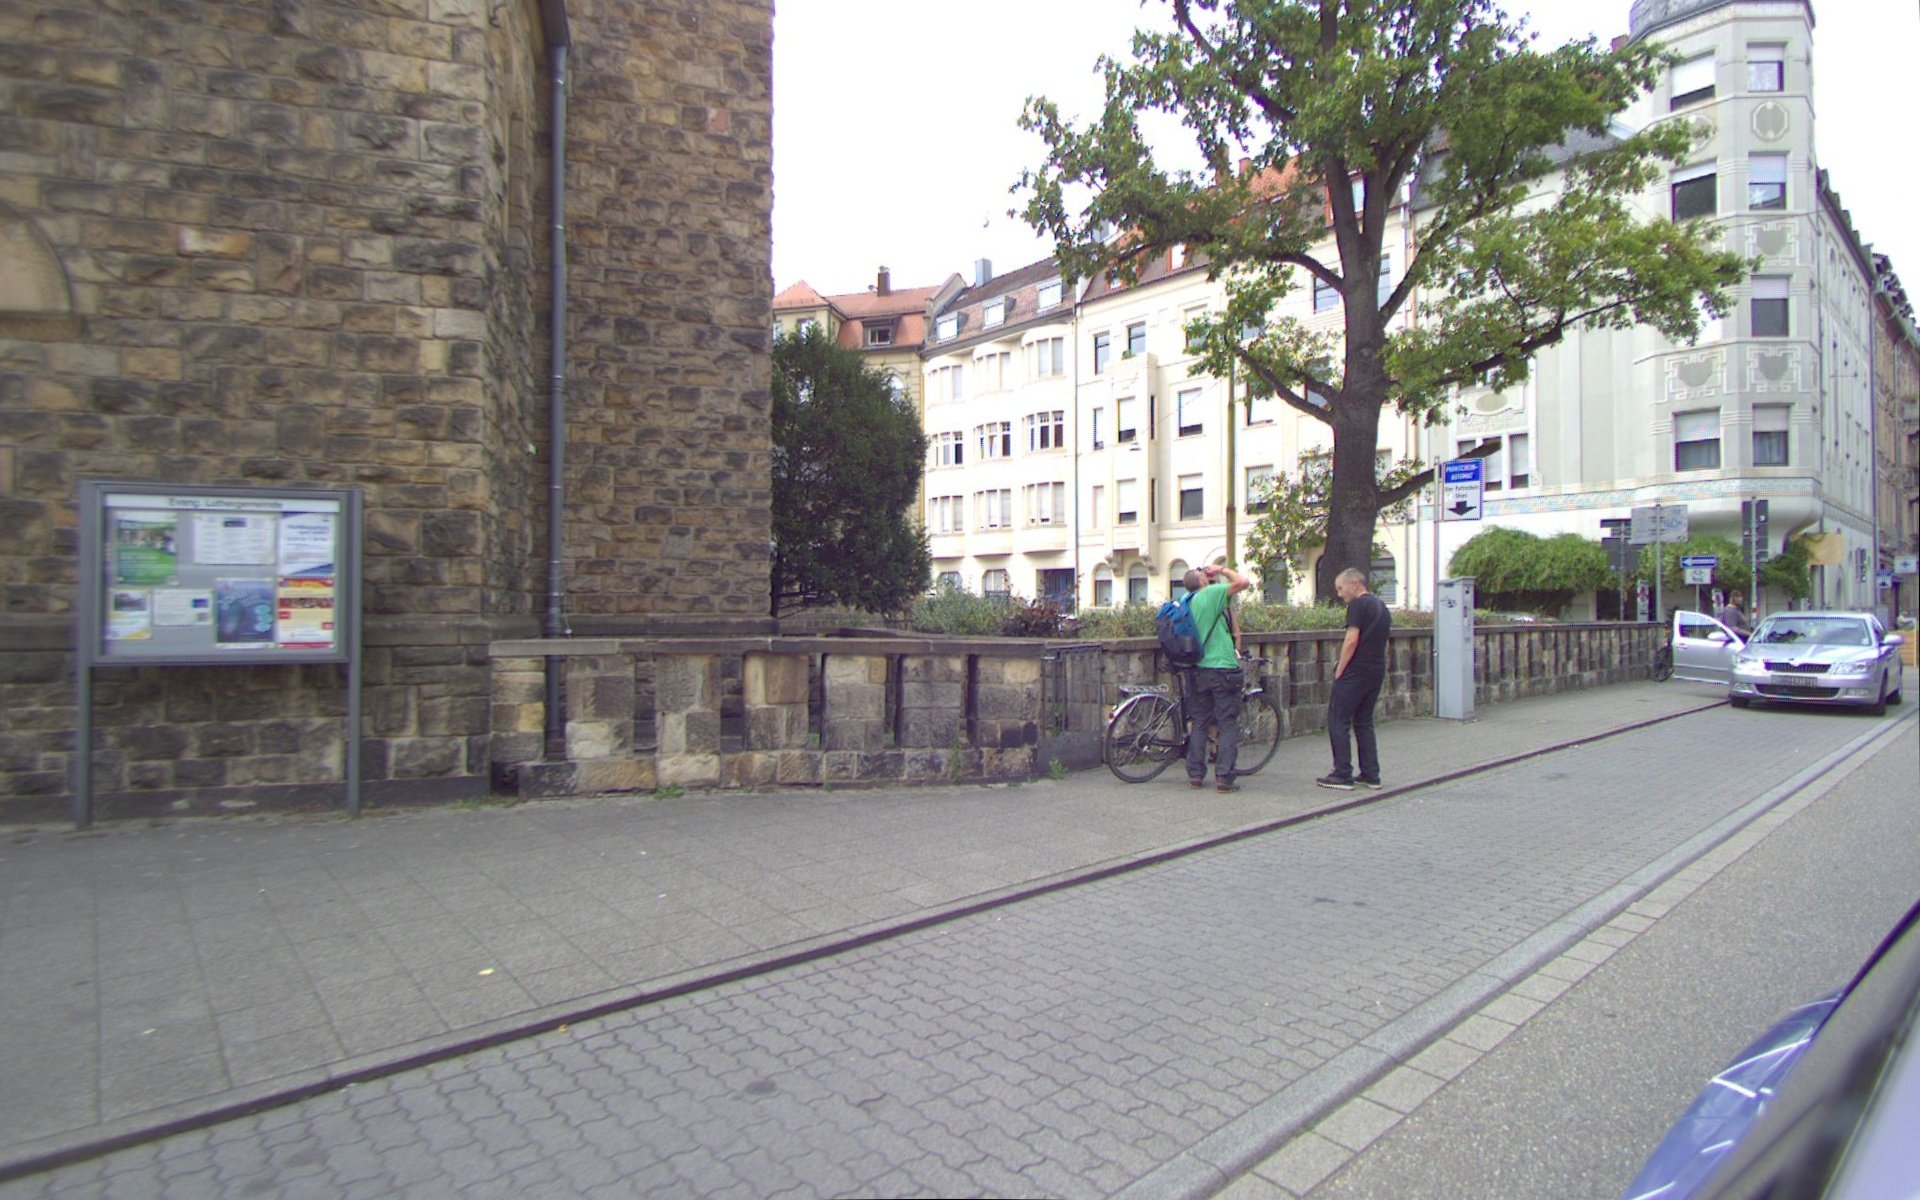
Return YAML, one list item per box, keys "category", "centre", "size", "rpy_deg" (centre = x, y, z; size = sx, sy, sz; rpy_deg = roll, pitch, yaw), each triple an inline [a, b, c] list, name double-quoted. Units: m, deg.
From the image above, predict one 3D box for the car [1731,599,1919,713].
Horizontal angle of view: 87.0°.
- category: "car"
  centre: [13.196, 0.740, 15.295]
  size: [4.344, 1.487, 1.757]
  rpy_deg: [1, -1, -43]

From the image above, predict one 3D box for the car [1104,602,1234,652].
- category: "car"
  centre: [6.989, 0.884, 34.162]
  size: [1.814, 1.555, 4.032]
  rpy_deg: [4, -3, -39]

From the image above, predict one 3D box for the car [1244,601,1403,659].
- category: "car"
  centre: [10.574, 0.863, 29.662]
  size: [1.814, 1.555, 4.032]
  rpy_deg: [4, -3, -39]

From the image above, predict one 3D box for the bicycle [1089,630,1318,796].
- category: "bicycle"
  centre: [1.902, 0.833, 7.884]
  size: [1.716, 1.165, 0.535]
  rpy_deg: [0, -1, -21]

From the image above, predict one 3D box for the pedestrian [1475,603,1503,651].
- category: "pedestrian"
  centre: [16.876, 0.865, 32.266]
  size: [0.624, 1.477, 0.548]
  rpy_deg: [-4, 1, -41]

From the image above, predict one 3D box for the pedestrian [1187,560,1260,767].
- category: "pedestrian"
  centre: [2.320, 0.537, 8.880]
  size: [0.504, 1.742, 0.526]
  rpy_deg: [-1, -1, 28]

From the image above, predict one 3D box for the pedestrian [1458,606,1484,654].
- category: "pedestrian"
  centre: [15.833, 0.924, 31.369]
  size: [0.550, 1.488, 0.548]
  rpy_deg: [1, -1, -41]

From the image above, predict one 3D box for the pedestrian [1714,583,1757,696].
- category: "pedestrian"
  centre: [12.281, 0.613, 16.029]
  size: [0.403, 1.757, 0.468]
  rpy_deg: [1, -1, -42]

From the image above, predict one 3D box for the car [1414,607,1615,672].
- category: "car"
  centre: [13.873, 0.934, 25.547]
  size: [1.871, 1.488, 4.038]
  rpy_deg: [0, -1, -32]

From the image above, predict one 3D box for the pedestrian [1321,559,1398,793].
- category: "pedestrian"
  centre: [3.115, 0.568, 7.888]
  size: [0.504, 1.742, 0.527]
  rpy_deg: [-1, -1, 26]

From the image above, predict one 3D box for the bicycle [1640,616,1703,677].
- category: "bicycle"
  centre: [13.535, 0.860, 19.229]
  size: [1.943, 1.119, 0.523]
  rpy_deg: [1, -2, -41]

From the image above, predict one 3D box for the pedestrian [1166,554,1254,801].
- category: "pedestrian"
  centre: [1.854, 0.548, 7.480]
  size: [0.526, 1.742, 0.504]
  rpy_deg: [-1, -1, 26]
